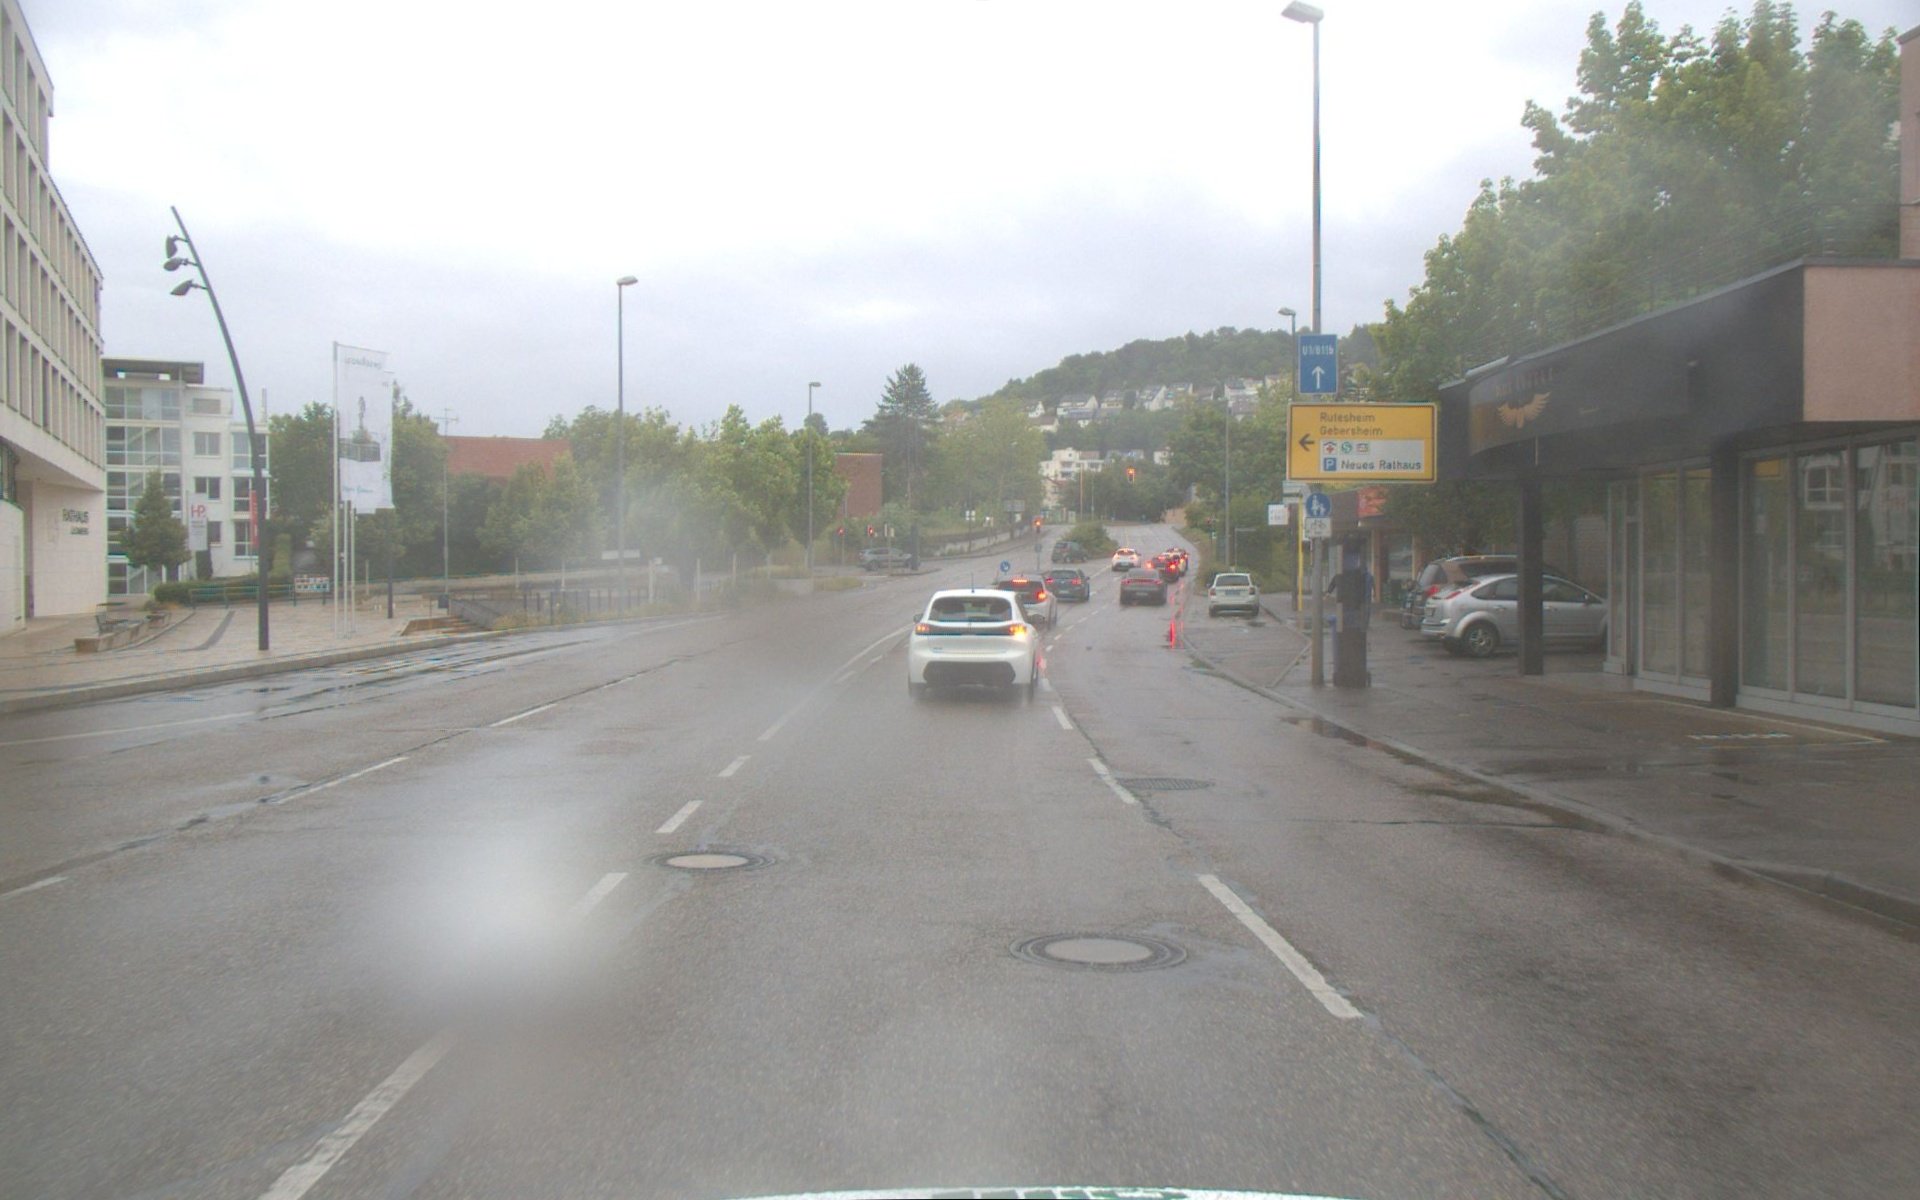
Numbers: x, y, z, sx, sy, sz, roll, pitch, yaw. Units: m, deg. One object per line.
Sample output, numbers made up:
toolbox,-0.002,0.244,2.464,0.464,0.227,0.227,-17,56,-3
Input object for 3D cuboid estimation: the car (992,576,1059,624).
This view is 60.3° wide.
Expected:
car,1.949,-0.012,48.369,1.704,1.318,3.336,-1,0,6

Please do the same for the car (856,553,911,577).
car,-5.447,-2.512,117.874,3.471,1.596,1.785,-1,-1,-26

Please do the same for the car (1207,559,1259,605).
car,9.728,-0.668,58.817,1.693,1.523,4.485,-2,1,11

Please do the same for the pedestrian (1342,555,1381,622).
pedestrian,10.903,-0.320,44.941,0.857,1.767,0.760,-2,1,1

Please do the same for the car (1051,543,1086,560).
car,8.234,-3.686,125.511,2.398,1.177,1.354,-1,-1,-35

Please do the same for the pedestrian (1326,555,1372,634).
pedestrian,9.201,-0.123,39.121,0.700,1.853,0.789,-1,-1,-27

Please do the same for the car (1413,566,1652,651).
car,10.662,0.139,30.996,3.903,1.472,1.747,-1,1,4

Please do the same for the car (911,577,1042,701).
car,0.292,0.475,23.219,1.656,1.545,3.934,1,1,2

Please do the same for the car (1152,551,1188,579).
car,12.473,-2.064,98.504,1.614,1.511,3.364,-1,-1,-2

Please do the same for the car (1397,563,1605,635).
car,12.073,-0.023,37.090,4.062,1.479,1.803,-1,0,1

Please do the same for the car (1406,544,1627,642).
car,11.542,-0.161,34.504,4.008,1.903,1.877,-1,1,4

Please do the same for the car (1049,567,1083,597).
car,4.553,-0.758,70.807,1.187,1.176,2.272,-1,-1,10

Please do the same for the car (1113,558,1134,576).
car,11.163,-2.251,112.652,1.355,1.146,2.612,-1,-1,7

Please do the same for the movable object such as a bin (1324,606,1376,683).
movable object such as a bin,5.848,0.665,24.794,0.623,1.093,0.699,-1,2,2

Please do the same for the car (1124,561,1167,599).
car,7.896,-0.854,70.641,1.697,1.411,3.356,1,4,5
